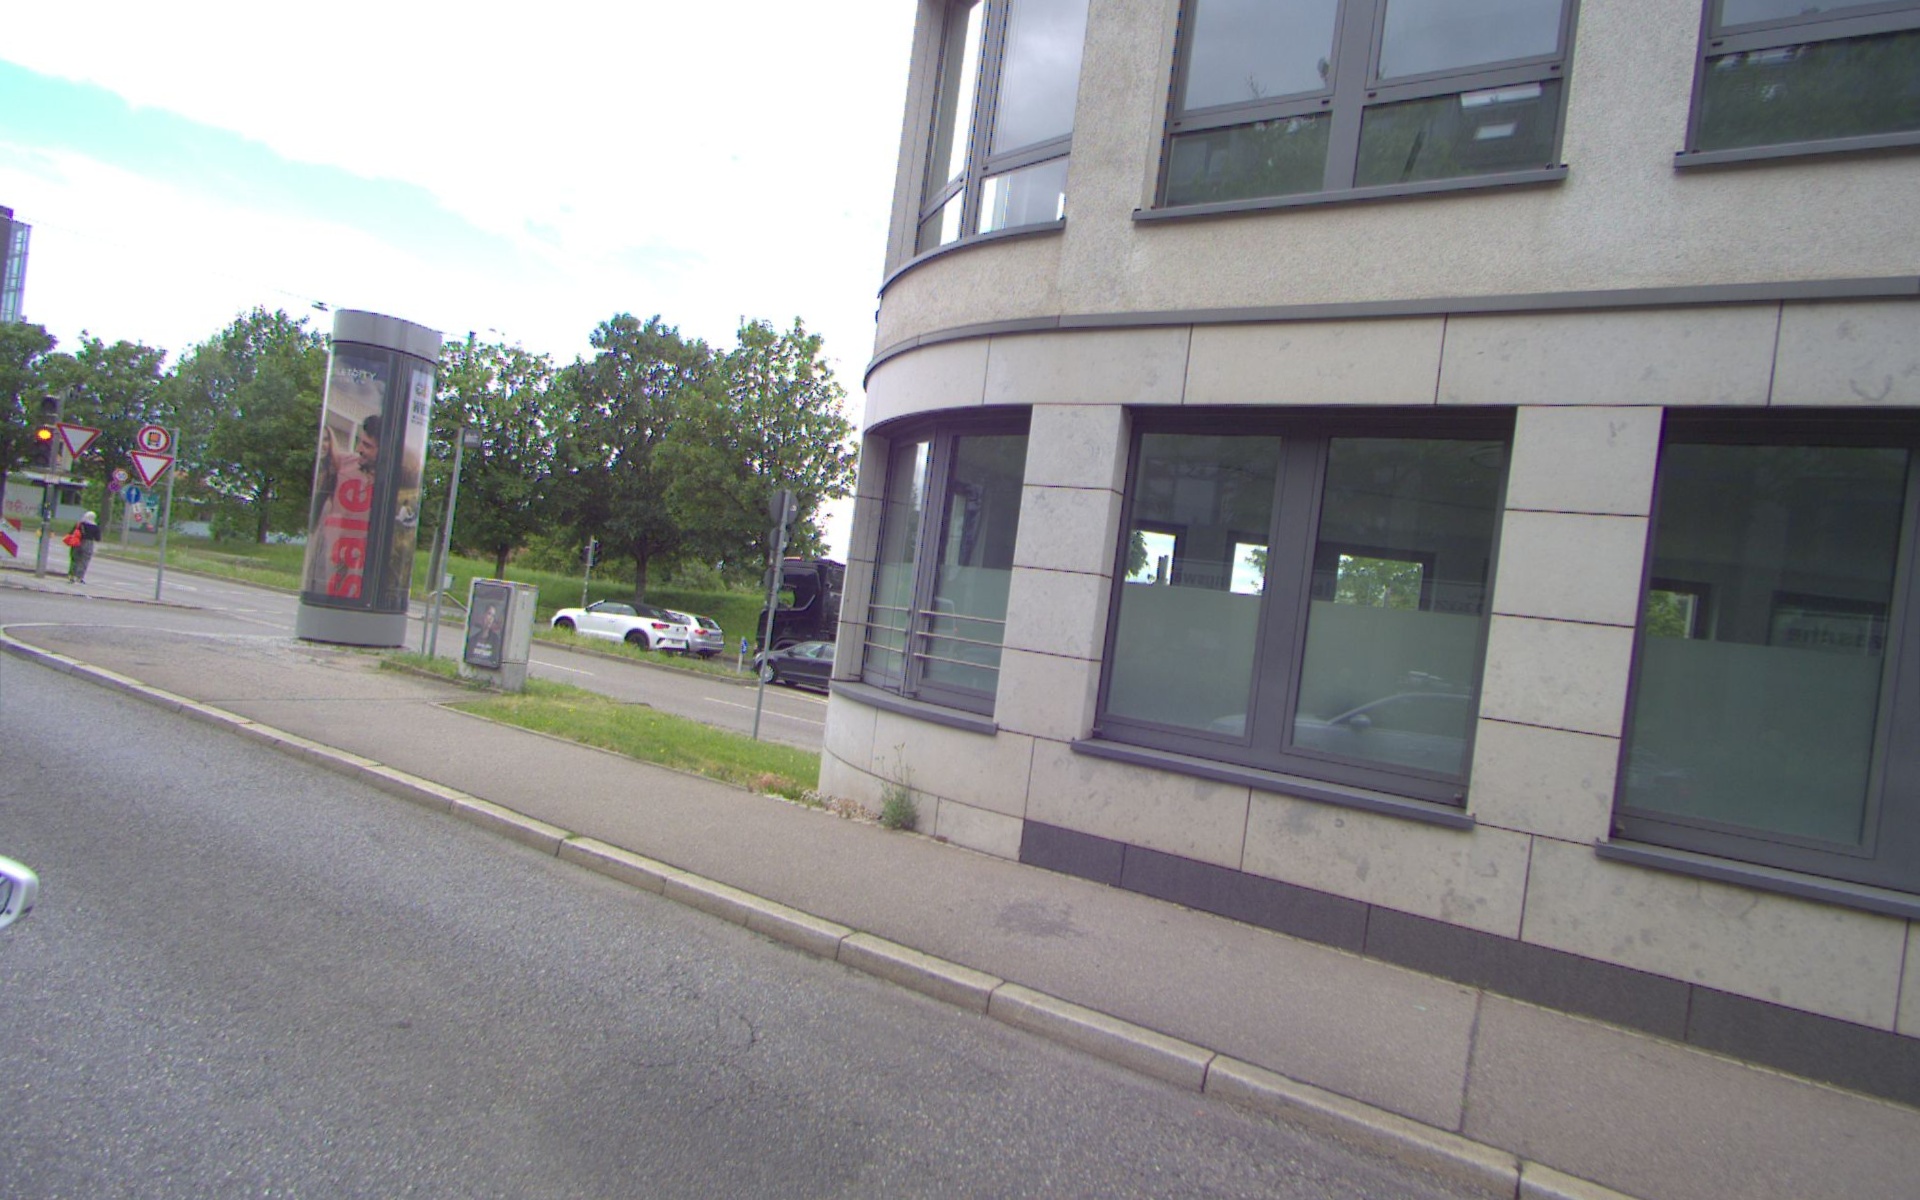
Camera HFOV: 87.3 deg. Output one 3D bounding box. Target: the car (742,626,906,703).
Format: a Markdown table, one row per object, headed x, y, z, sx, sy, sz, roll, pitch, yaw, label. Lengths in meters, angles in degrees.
| x | y | z | sx | sy | sz | roll | pitch | yaw | label |
| --- | --- | --- | --- | --- | --- | --- | --- | --- | --- |
| -3.769 | 1.817 | 28.091 | 3.925 | 1.469 | 2.003 | 8 | -3 | 19 | car |

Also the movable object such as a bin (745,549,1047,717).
| x | y | z | sx | sy | sz | roll | pitch | yaw | label |
| --- | --- | --- | --- | --- | --- | --- | --- | --- | --- |
| -1.966 | 0.959 | 30.921 | 8.410 | 3.949 | 2.870 | 7 | -1 | 18 | movable object such as a bin |

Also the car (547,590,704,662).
| x | y | z | sx | sy | sz | roll | pitch | yaw | label |
| --- | --- | --- | --- | --- | --- | --- | --- | --- | --- |
| -10.066 | 0.788 | 30.334 | 3.925 | 1.469 | 2.003 | 8 | -3 | 19 | car |

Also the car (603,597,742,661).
| x | y | z | sx | sy | sz | roll | pitch | yaw | label |
| --- | --- | --- | --- | --- | --- | --- | --- | --- | --- |
| -9.672 | 0.973 | 33.962 | 3.925 | 1.469 | 2.003 | 8 | -3 | 19 | car |

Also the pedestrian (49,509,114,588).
| x | y | z | sx | sy | sz | roll | pitch | yaw | label |
| --- | --- | --- | --- | --- | --- | --- | --- | --- | --- |
| -19.356 | -1.125 | 22.183 | 0.564 | 1.602 | 0.739 | 9 | -2 | -8 | pedestrian |
